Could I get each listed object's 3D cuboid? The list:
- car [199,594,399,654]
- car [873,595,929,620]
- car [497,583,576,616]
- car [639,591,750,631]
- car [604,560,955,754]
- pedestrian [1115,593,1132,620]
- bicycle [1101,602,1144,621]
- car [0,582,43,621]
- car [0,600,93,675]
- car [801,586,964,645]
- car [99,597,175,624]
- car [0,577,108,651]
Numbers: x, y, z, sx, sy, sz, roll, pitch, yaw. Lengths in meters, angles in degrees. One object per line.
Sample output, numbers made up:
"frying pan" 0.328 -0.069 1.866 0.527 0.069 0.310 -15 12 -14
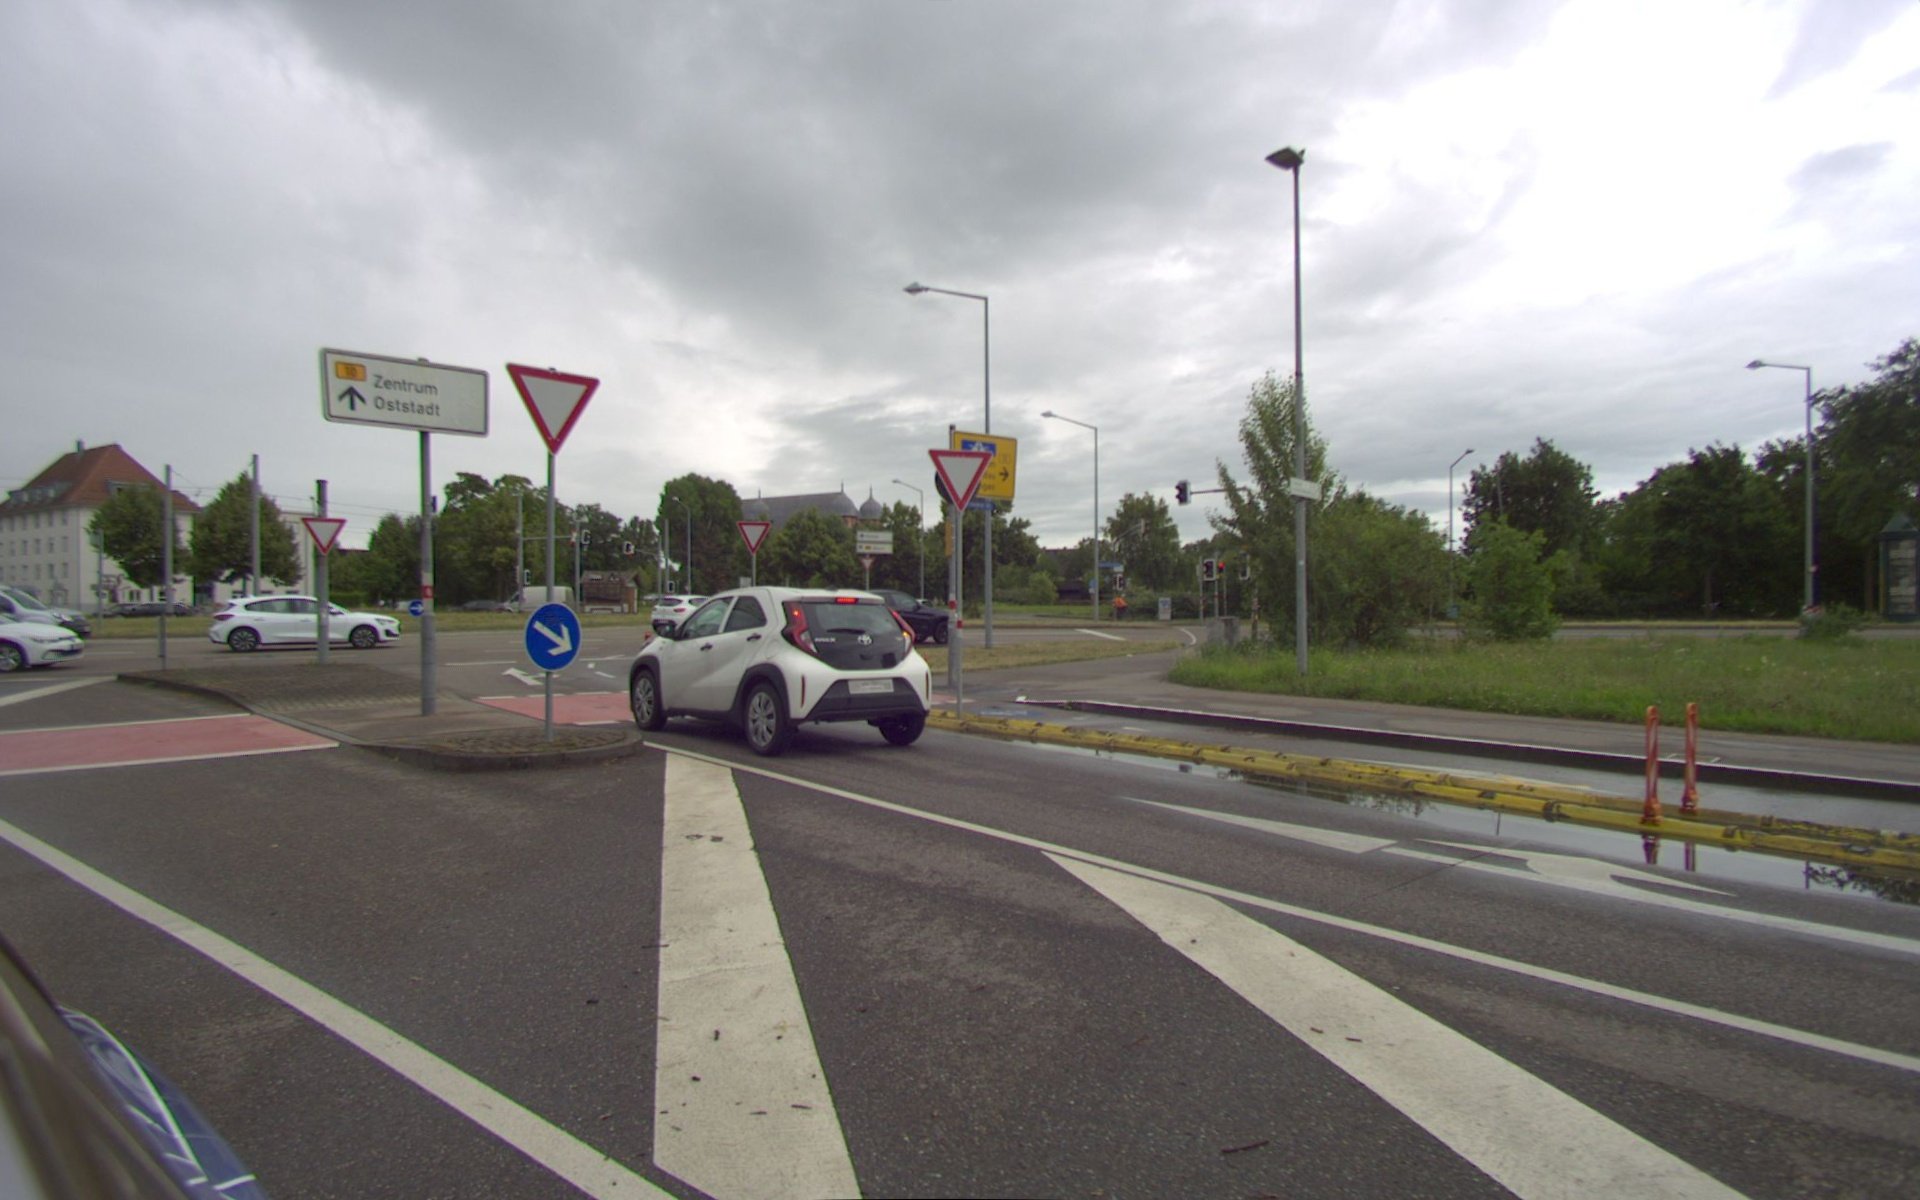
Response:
"car" -17.785 0.602 27.473 4.400 1.468 1.927 -1 1 -32
"car" -4.035 0.490 68.391 1.868 1.567 4.008 -1 0 -38
"car" -34.608 -0.042 82.774 5.529 2.561 2.241 -1 0 -1
"car" -10.561 0.397 40.597 1.911 1.466 4.437 0 1 26
"car" -2.000 0.499 10.386 1.729 1.599 3.906 2 -2 -42
"pedestrian" 10.750 0.441 66.508 0.967 1.784 0.744 -1 -1 20
"bicycle" 10.690 0.761 66.522 2.669 1.231 0.753 -1 -1 20
"car" -57.049 0.126 58.811 2.172 2.259 5.276 0 1 37
"car" -20.614 0.770 20.421 4.356 1.468 1.838 -1 1 -21
"car" -2.389 0.441 31.581 4.670 1.680 1.927 -1 1 -30
"car" -55.801 0.697 68.710 3.935 1.696 1.817 -1 1 -37
"car" -25.976 0.383 27.145 4.408 1.918 1.928 -1 1 -25
